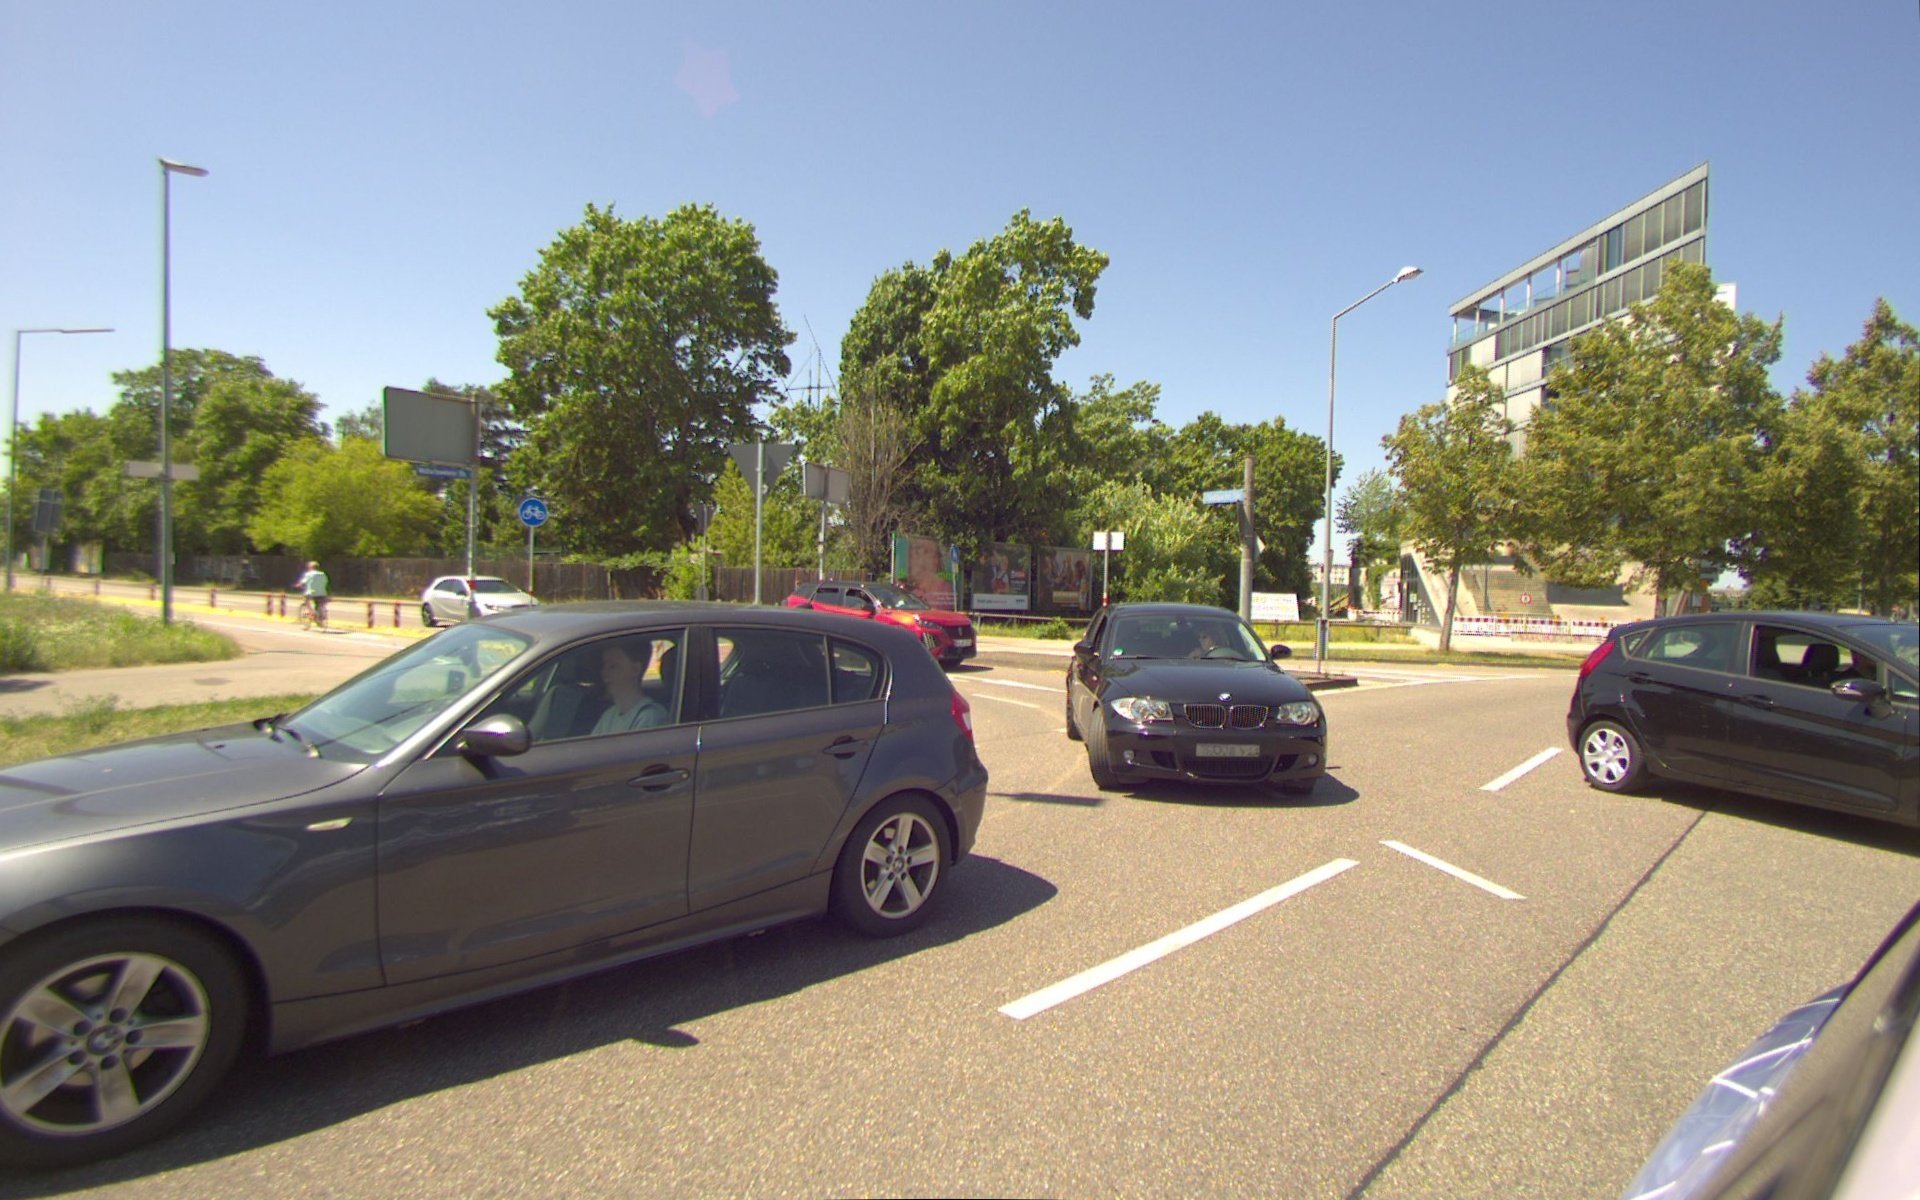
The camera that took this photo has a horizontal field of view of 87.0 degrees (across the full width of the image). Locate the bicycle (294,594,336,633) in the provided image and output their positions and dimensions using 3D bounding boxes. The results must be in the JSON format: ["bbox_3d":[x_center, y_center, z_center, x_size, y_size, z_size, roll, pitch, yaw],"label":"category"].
[{"bbox_3d":[-16.198,0.320,25.442,0.616,0.890,1.880,1,2,-25],"label":"bicycle"}]

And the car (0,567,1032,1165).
[{"bbox_3d":[-1.744,0.636,4.050,4.010,1.421,1.750,1,0,-42],"label":"car"}]

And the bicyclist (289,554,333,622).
[{"bbox_3d":[-16.293,-0.303,25.429,0.733,1.661,1.165,2,0,-24],"label":"bicyclist"}]

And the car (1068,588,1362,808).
[{"bbox_3d":[1.934,0.640,8.864,1.770,1.458,3.996,1,1,4],"label":"car"}]

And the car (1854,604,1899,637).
[{"bbox_3d":[72.550,1.605,80.161,1.986,2.540,3.951,2,0,34],"label":"car"}]

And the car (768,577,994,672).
[{"bbox_3d":[-1.558,0.378,19.056,4.188,1.546,1.698,2,2,37],"label":"car"}]

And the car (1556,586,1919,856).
[{"bbox_3d":[6.100,0.700,6.597,1.600,1.527,3.827,2,1,-12],"label":"car"}]

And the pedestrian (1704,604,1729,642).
[{"bbox_3d":[38.728,1.161,51.812,0.601,1.892,0.834,0,2,-39],"label":"pedestrian"}]

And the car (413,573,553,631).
[{"bbox_3d":[-13.162,-0.001,27.863,3.976,1.446,1.840,2,2,36],"label":"car"}]
